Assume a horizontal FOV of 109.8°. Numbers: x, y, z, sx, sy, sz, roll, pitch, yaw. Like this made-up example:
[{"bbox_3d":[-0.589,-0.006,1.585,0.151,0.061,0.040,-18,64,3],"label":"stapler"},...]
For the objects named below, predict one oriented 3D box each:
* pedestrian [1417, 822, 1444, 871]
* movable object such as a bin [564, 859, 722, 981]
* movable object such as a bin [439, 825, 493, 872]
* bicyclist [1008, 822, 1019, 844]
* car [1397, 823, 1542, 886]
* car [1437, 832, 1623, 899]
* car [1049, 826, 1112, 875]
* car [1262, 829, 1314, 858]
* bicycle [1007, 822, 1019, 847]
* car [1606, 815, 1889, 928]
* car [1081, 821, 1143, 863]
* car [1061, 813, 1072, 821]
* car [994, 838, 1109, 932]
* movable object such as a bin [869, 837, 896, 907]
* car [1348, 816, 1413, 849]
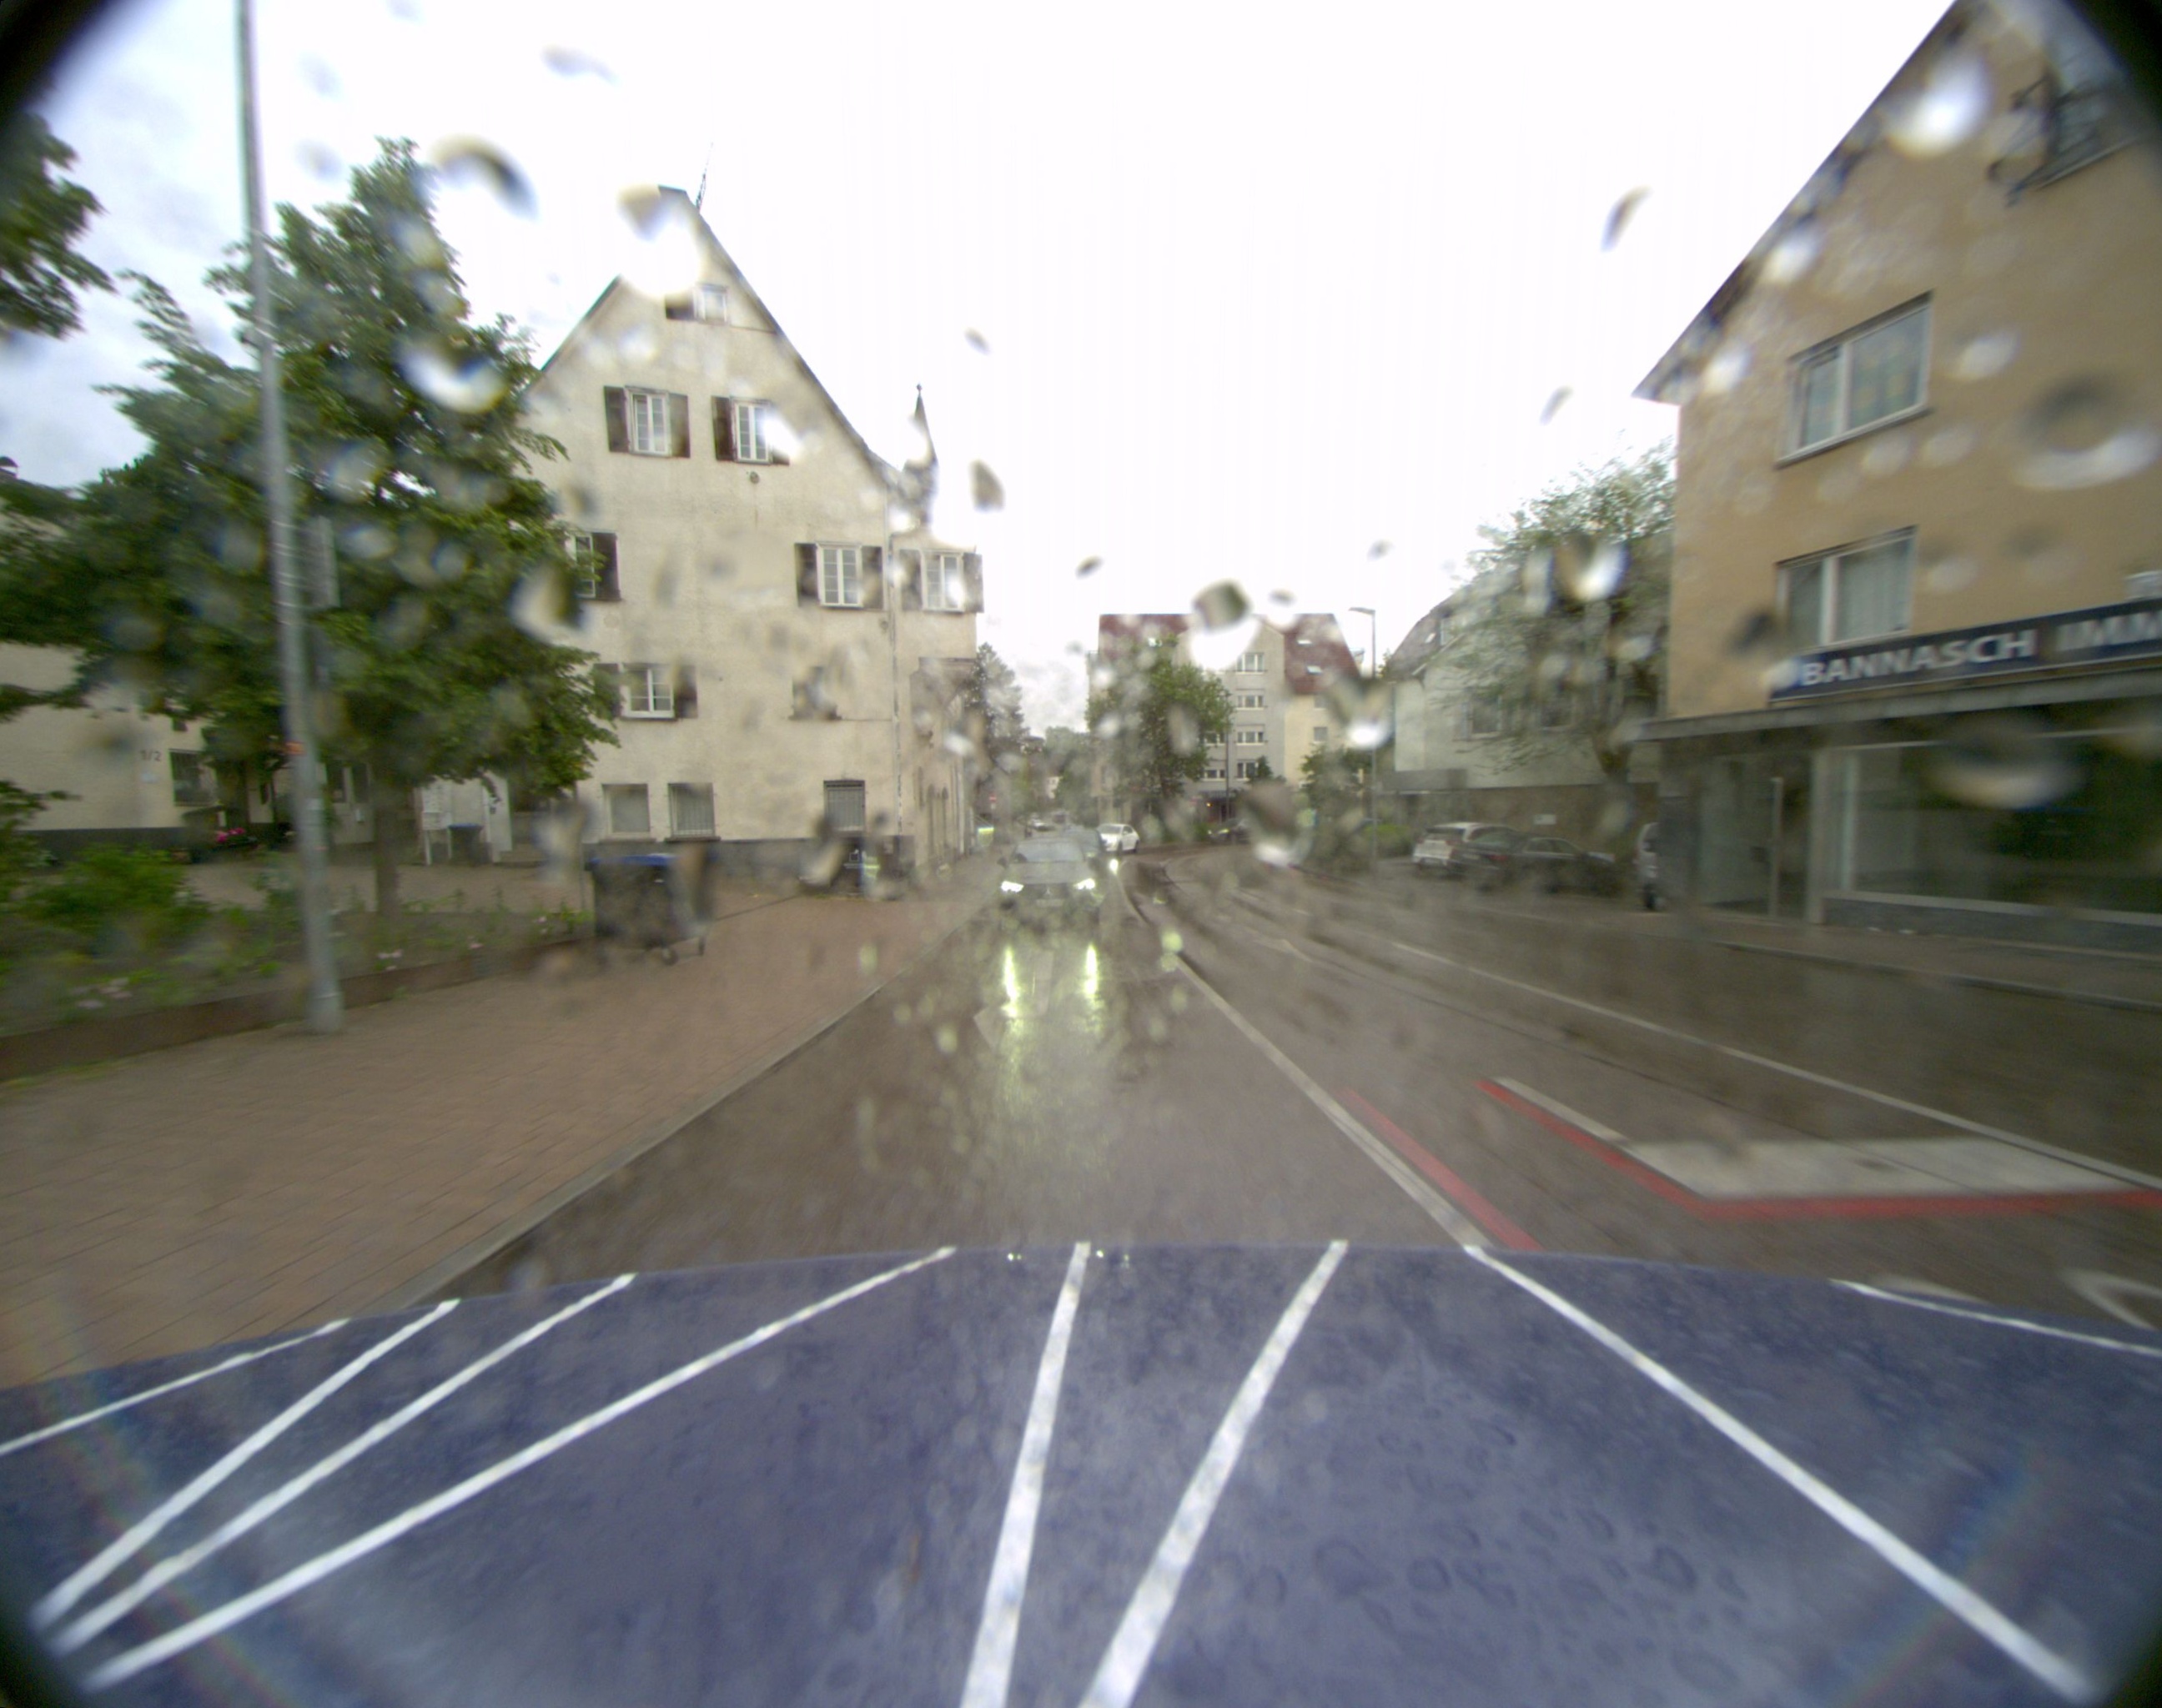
[{"bbox_3d":[11.296,-0.240,24.579,0.655,1.566,0.545,-1,1,7],"label":"pedestrian"},{"bbox_3d":[-5.266,0.753,9.243,1.157,1.306,1.186,1,3,5],"label":"movable object such as a bin"},{"bbox_3d":[-13.190,-0.123,16.315,0.658,0.918,0.592,1,8,-9],"label":"movable object such as a bin"},{"bbox_3d":[-5.943,-1.864,66.946,0.686,1.514,1.025,10,35,-12],"label":"bicyclist"},{"bbox_3d":[11.353,-0.062,22.238,3.650,1.620,1.995,-2,4,-27],"label":"car"},{"bbox_3d":[11.195,0.221,18.999,4.004,1.446,1.895,-2,3,-21],"label":"car"},{"bbox_3d":[0.086,-0.194,26.935,1.772,1.524,4.377,0,3,6],"label":"car"},{"bbox_3d":[10.579,-0.563,38.686,1.862,1.379,4.269,-1,1,25],"label":"car"},{"bbox_3d":[-6.023,-1.736,67.158,0.764,1.032,2.070,13,34,-13],"label":"bicycle"},{"bbox_3d":[13.206,0.370,15.077,4.940,1.814,1.959,4,0,-19],"label":"car"},{"bbox_3d":[1.595,-0.655,37.474,1.810,1.558,4.002,3,8,22],"label":"car"},{"bbox_3d":[-3.086,-7.700,158.399,1.998,1.564,3.999,0,2,2],"label":"car"},{"bbox_3d":[-0.554,0.499,15.512,1.999,1.485,4.310,0,3,-1],"label":"car"},{"bbox_3d":[-4.309,0.371,16.493,0.413,1.435,0.642,-3,6,-24],"label":"movable object such as a bin"},{"bbox_3d":[18.262,-1.307,46.227,4.387,1.871,1.994,0,1,-44],"label":"car"}]
